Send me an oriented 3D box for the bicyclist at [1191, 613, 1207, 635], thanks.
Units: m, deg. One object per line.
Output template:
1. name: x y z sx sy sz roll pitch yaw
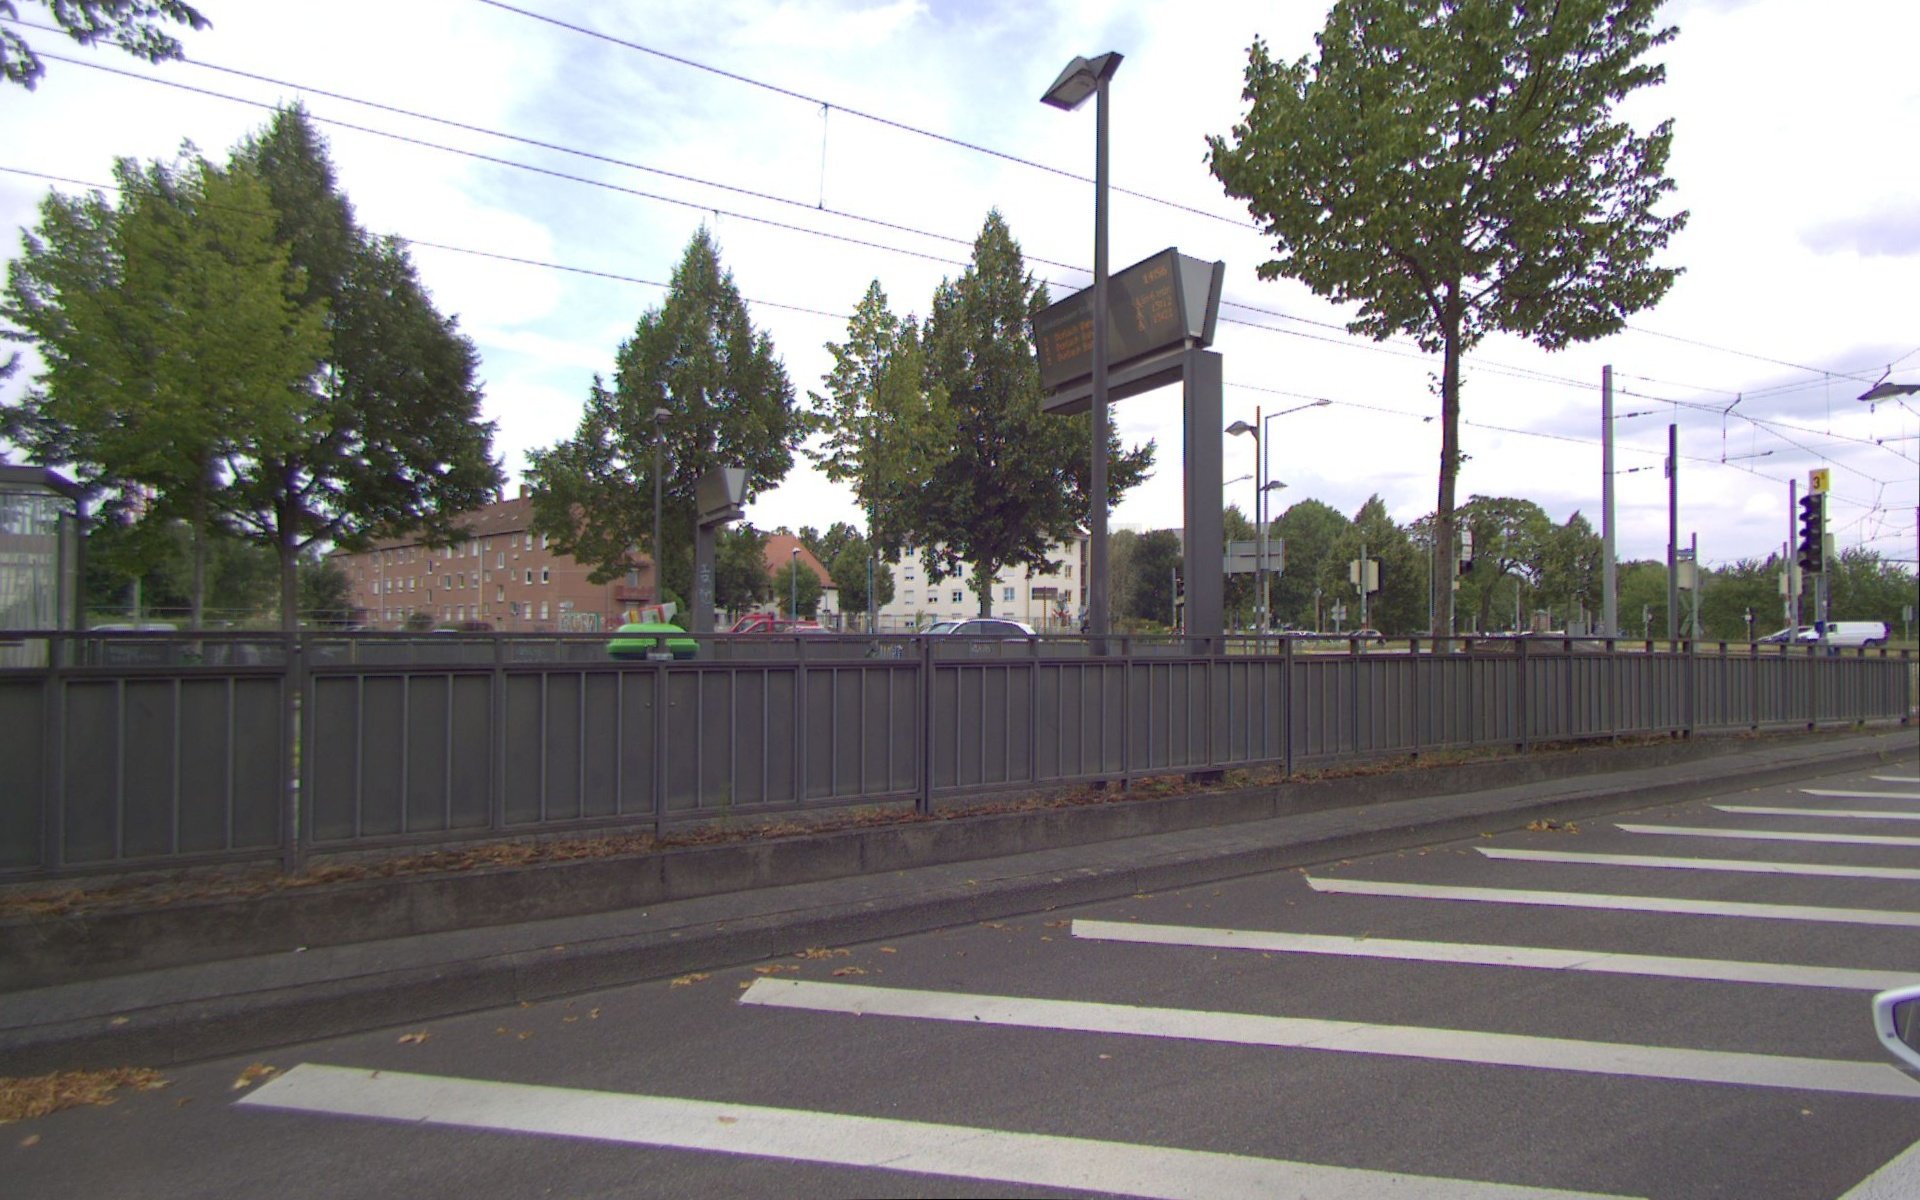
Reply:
1. bicyclist: 17.026 1.729 71.632 0.879 1.583 0.746 -1 -1 43

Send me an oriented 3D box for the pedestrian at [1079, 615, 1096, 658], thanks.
1. pedestrian: 5.594 1.583 44.228 0.637 1.874 0.491 0 -1 22

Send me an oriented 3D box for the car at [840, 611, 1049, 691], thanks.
1. car: -0.326 1.099 22.663 4.332 1.639 1.984 1 -1 -30

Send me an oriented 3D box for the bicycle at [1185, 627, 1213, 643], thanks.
1. bicycle: 17.078 2.506 71.705 0.797 1.144 2.694 -1 -2 41

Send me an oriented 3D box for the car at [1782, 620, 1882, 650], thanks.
1. car: 61.581 2.426 71.052 4.906 2.040 1.998 -1 -1 25

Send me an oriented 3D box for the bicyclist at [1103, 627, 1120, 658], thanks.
1. bicyclist: 9.099 2.531 60.276 0.815 1.859 0.783 0 -1 22

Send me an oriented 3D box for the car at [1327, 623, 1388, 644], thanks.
1. car: 30.759 2.586 77.753 3.920 1.663 2.001 0 -1 1
